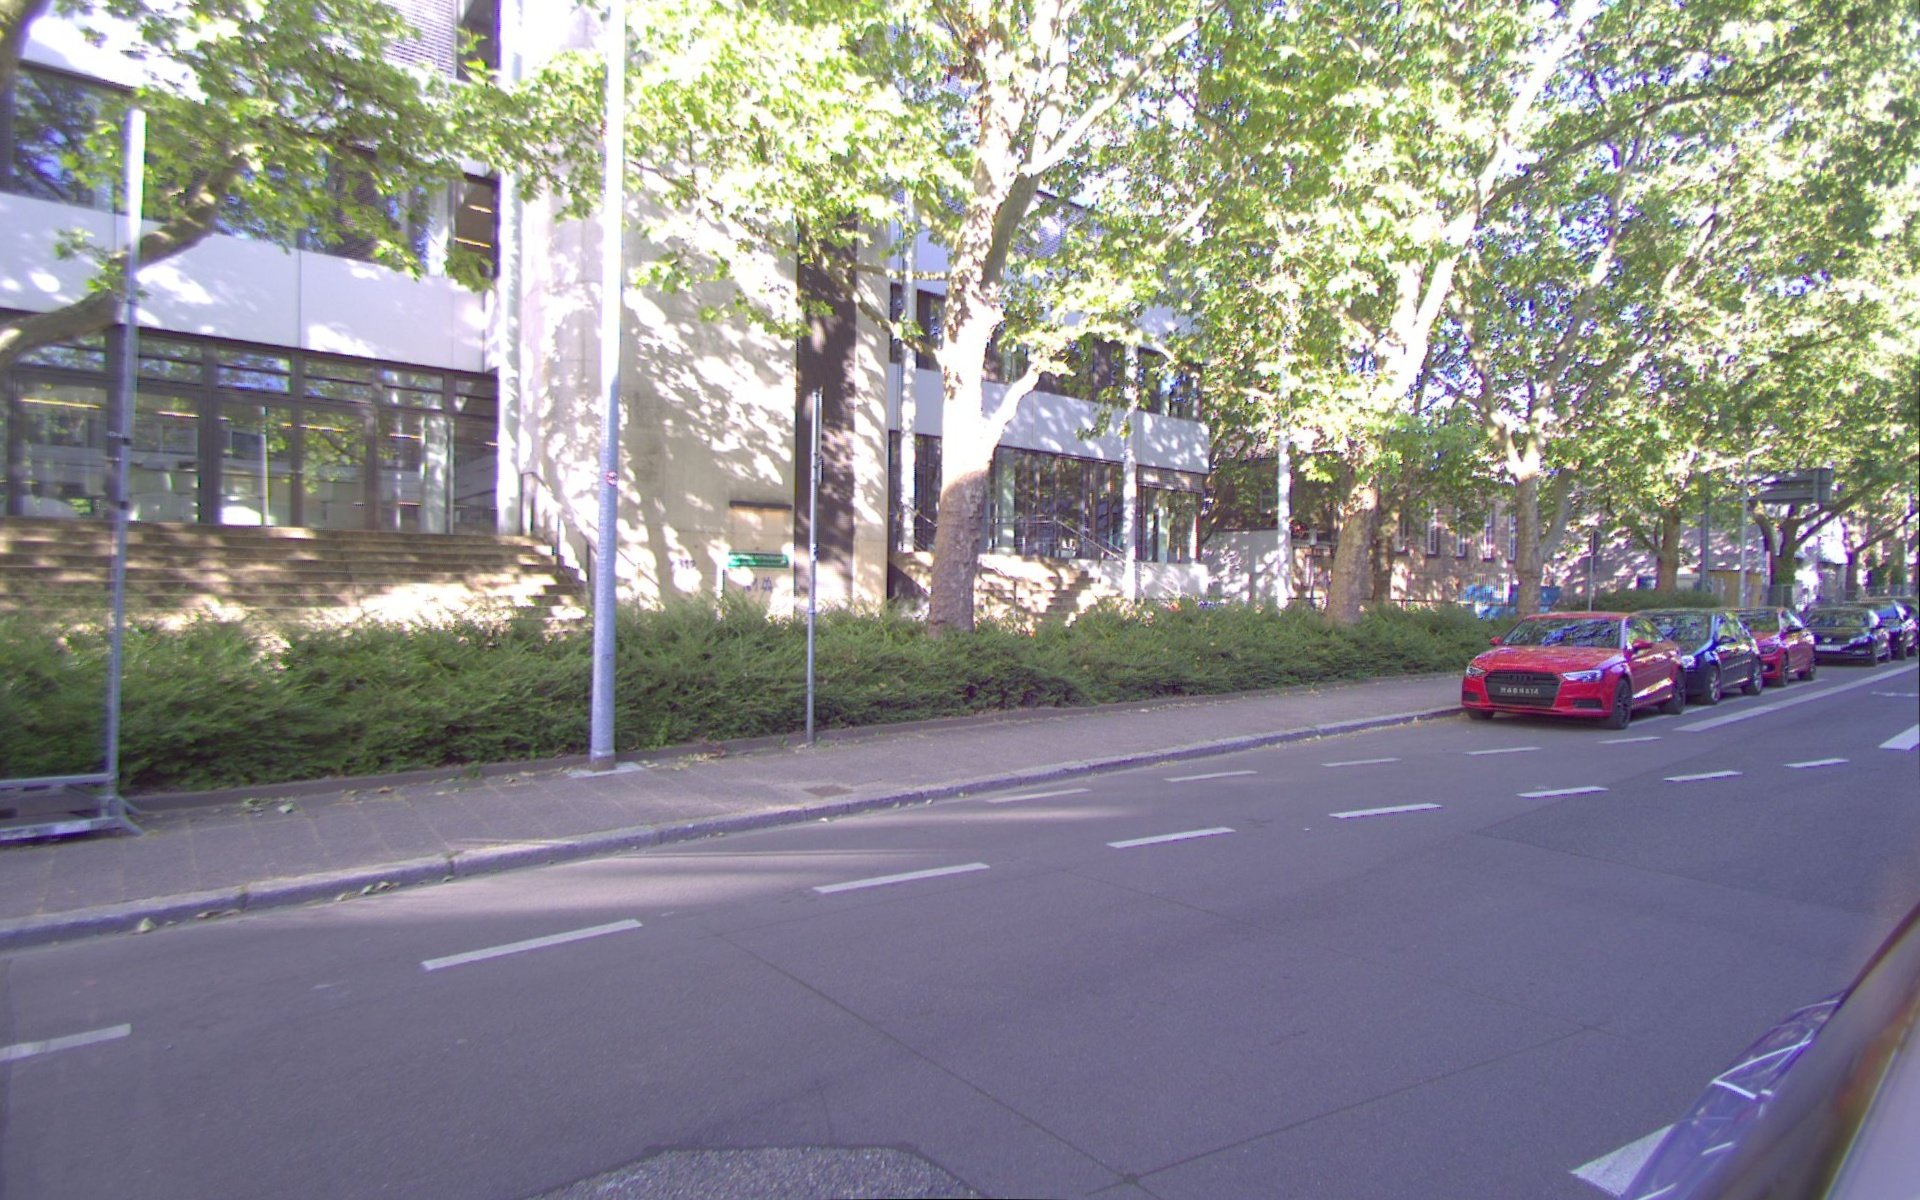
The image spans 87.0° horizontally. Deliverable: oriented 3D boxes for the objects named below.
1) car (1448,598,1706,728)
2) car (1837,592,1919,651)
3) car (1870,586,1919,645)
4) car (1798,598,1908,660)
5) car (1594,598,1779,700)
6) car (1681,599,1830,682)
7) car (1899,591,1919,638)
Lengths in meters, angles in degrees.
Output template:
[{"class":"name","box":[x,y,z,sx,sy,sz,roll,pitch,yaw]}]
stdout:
[{"class":"car","box":[8.344,0.721,13.551,4.053,1.483,1.802,0,-1,-41]},{"class":"car","box":[26.575,0.582,29.014,3.777,1.607,1.634,0,-1,-41]},{"class":"car","box":[31.083,0.473,32.988,3.777,1.828,1.634,0,-1,-41]},{"class":"car","box":[22.954,0.695,25.979,3.674,1.483,1.634,0,-1,-41]},{"class":"car","box":[11.936,0.717,16.557,3.674,1.483,1.634,0,-1,-41]},{"class":"car","box":[15.708,0.722,19.933,3.674,1.483,1.634,0,-1,-41]},{"class":"car","box":[35.931,0.528,37.233,3.777,1.675,1.634,0,-1,-41]}]
